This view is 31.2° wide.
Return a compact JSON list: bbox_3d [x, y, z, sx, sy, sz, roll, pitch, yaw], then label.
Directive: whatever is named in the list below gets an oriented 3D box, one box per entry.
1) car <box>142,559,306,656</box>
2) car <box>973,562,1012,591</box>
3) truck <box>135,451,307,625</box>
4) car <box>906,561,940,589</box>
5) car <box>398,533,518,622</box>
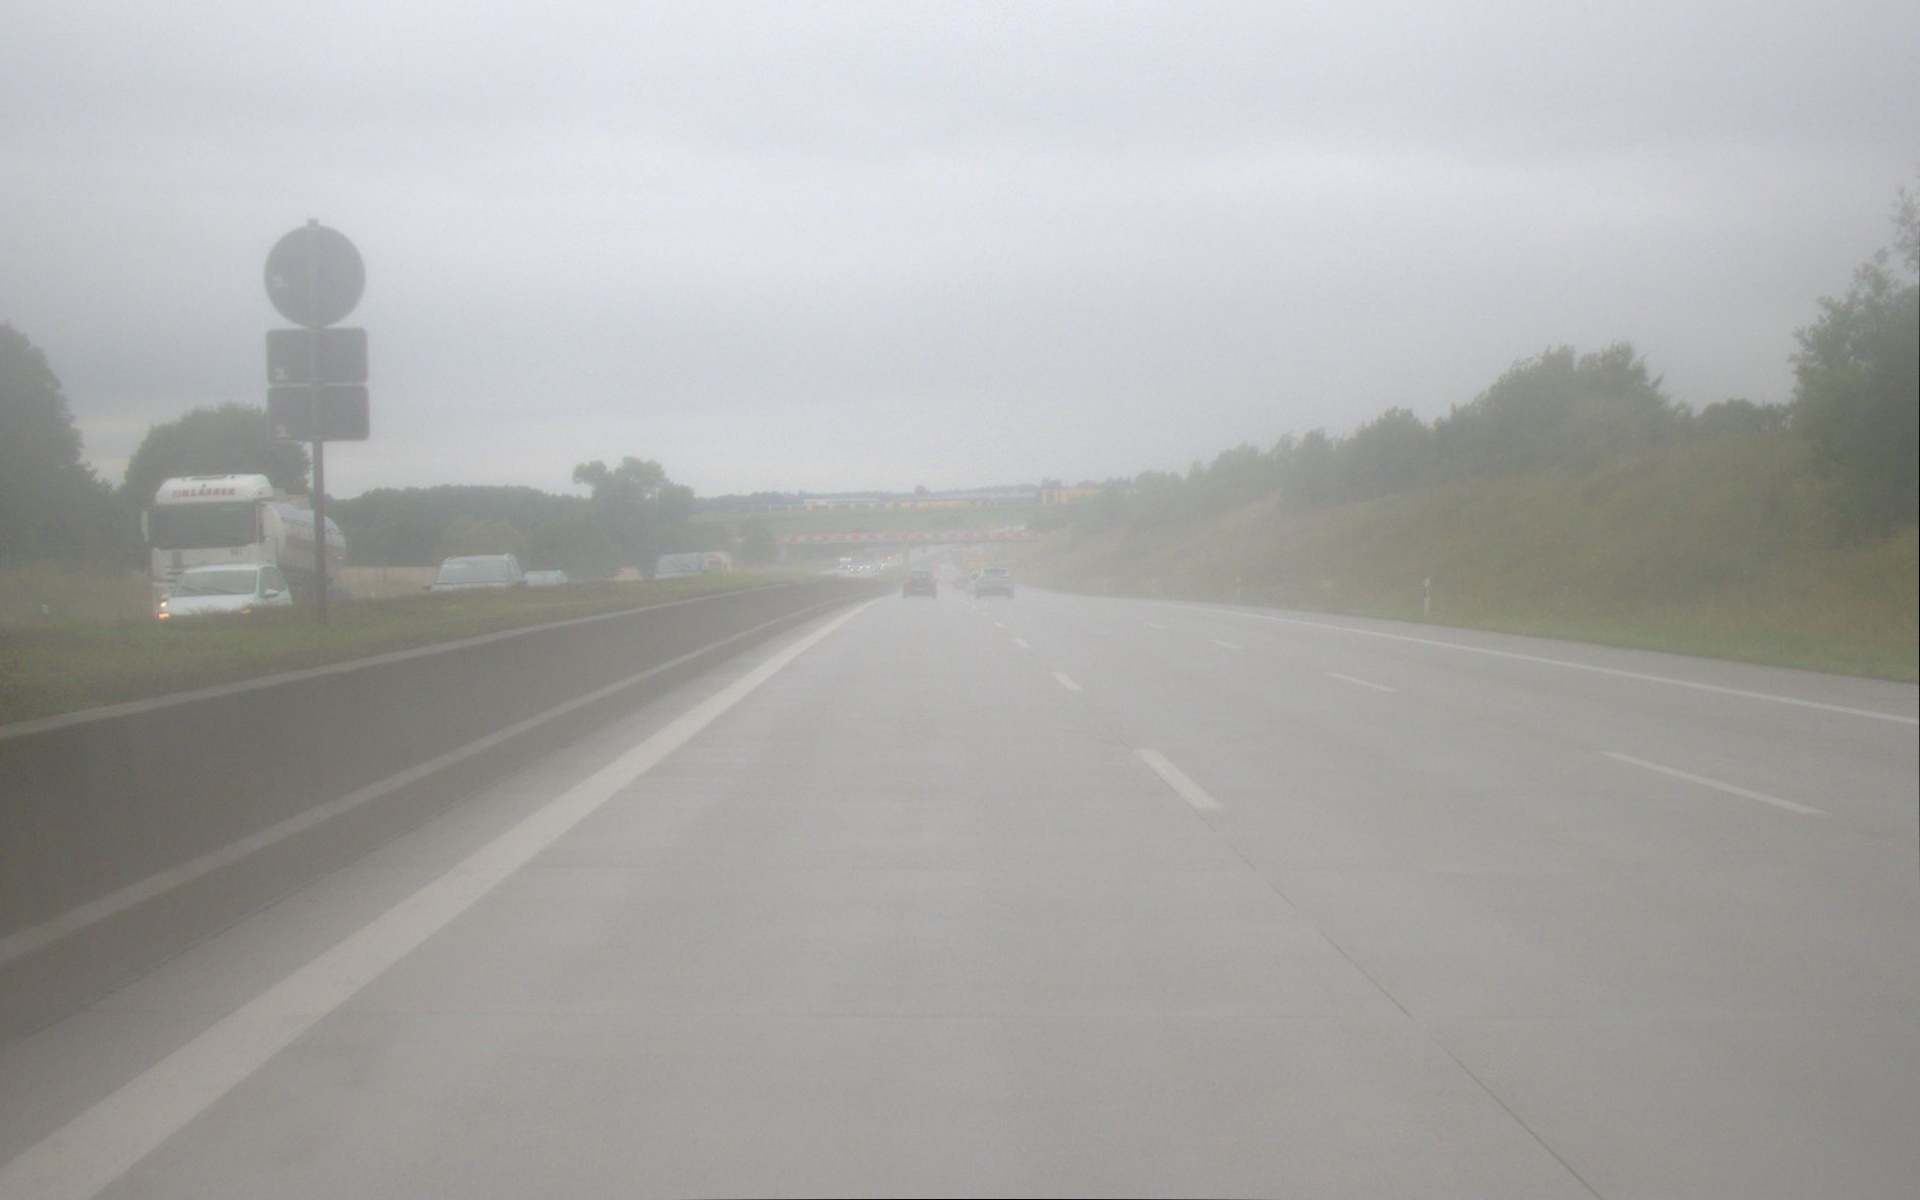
[{"bbox_3d":[-12.967,0.111,60.825,1.993,1.622,4.560,-1,1,-1],"label":"car"},{"bbox_3d":[1.621,-1.196,172.725,1.847,1.326,4.430,0,2,-1],"label":"car"},{"bbox_3d":[-17.064,-1.493,79.759,2.664,3.861,6.437,0,2,-1],"label":"truck"},{"bbox_3d":[-1.924,-1.322,179.234,1.729,1.326,4.430,0,2,0],"label":"car"},{"bbox_3d":[-9.986,-0.470,68.711,1.783,1.681,4.560,-1,1,-1],"label":"car"}]
